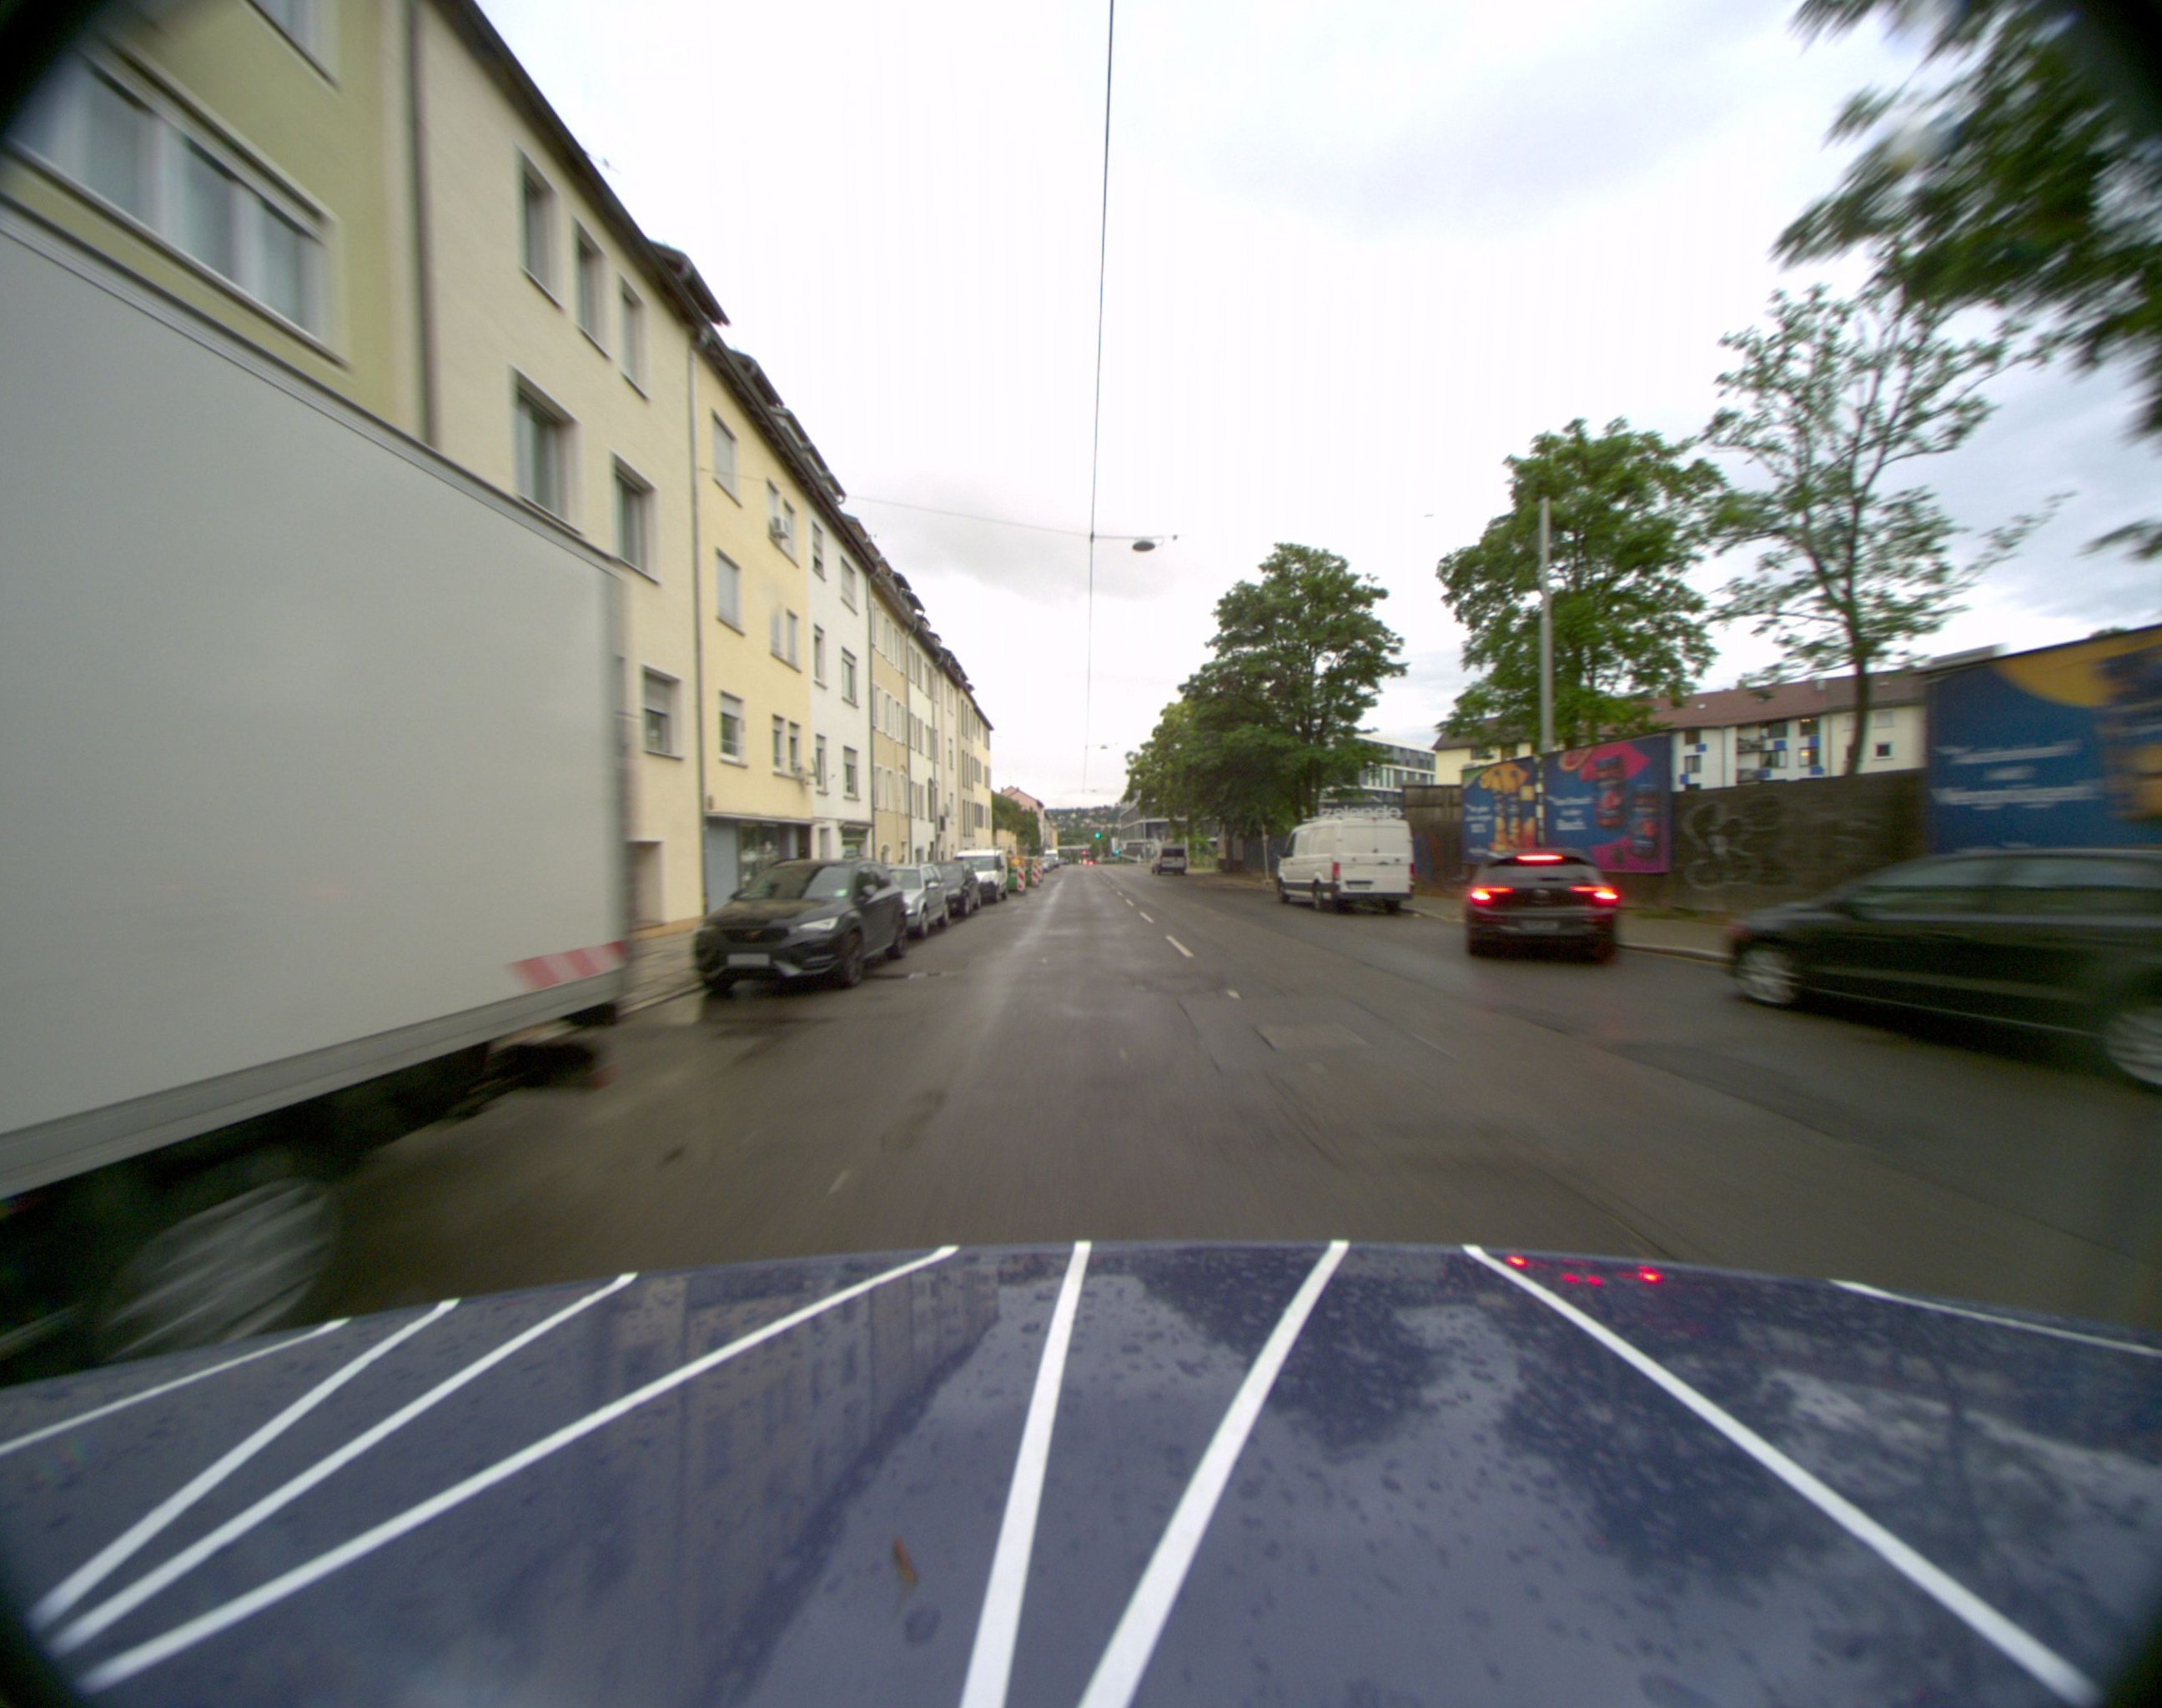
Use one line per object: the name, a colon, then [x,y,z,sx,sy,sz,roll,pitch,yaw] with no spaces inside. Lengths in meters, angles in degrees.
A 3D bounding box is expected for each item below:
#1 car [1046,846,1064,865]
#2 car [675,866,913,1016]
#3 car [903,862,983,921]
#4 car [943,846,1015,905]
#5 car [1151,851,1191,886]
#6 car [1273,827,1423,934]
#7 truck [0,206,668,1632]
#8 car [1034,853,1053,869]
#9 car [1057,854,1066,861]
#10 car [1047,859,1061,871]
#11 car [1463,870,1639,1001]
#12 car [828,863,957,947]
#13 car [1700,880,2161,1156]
car: [-3.713,0.253,109.398,2.211,2.448,6.080,-3,-1,0]
car: [-3.602,0.990,10.382,1.667,1.564,4.098,-1,0,0]
car: [-3.742,0.977,21.127,1.581,1.462,3.501,-1,0,0]
car: [-3.521,0.723,26.940,1.822,1.912,4.239,-1,0,2]
car: [6.992,1.101,59.682,2.236,2.563,6.537,0,0,-1]
car: [6.929,0.644,20.541,2.017,2.472,5.984,0,0,1]
truck: [-3.638,0.149,0.764,2.476,3.153,7.036,-1,0,1]
car: [-3.661,0.710,73.890,1.633,1.445,3.759,-3,-1,-1]
car: [-4.070,0.671,160.499,1.630,1.402,3.778,-2,-1,1]
car: [-3.667,1.451,102.049,1.693,1.445,4.235,-3,-1,-1]
car: [6.764,1.002,11.190,1.806,1.407,4.392,-1,0,29]
car: [-3.795,0.967,16.028,1.667,1.491,4.098,-1,0,0]
car: [6.776,0.958,5.304,1.687,1.390,3.910,0,0,-1]
